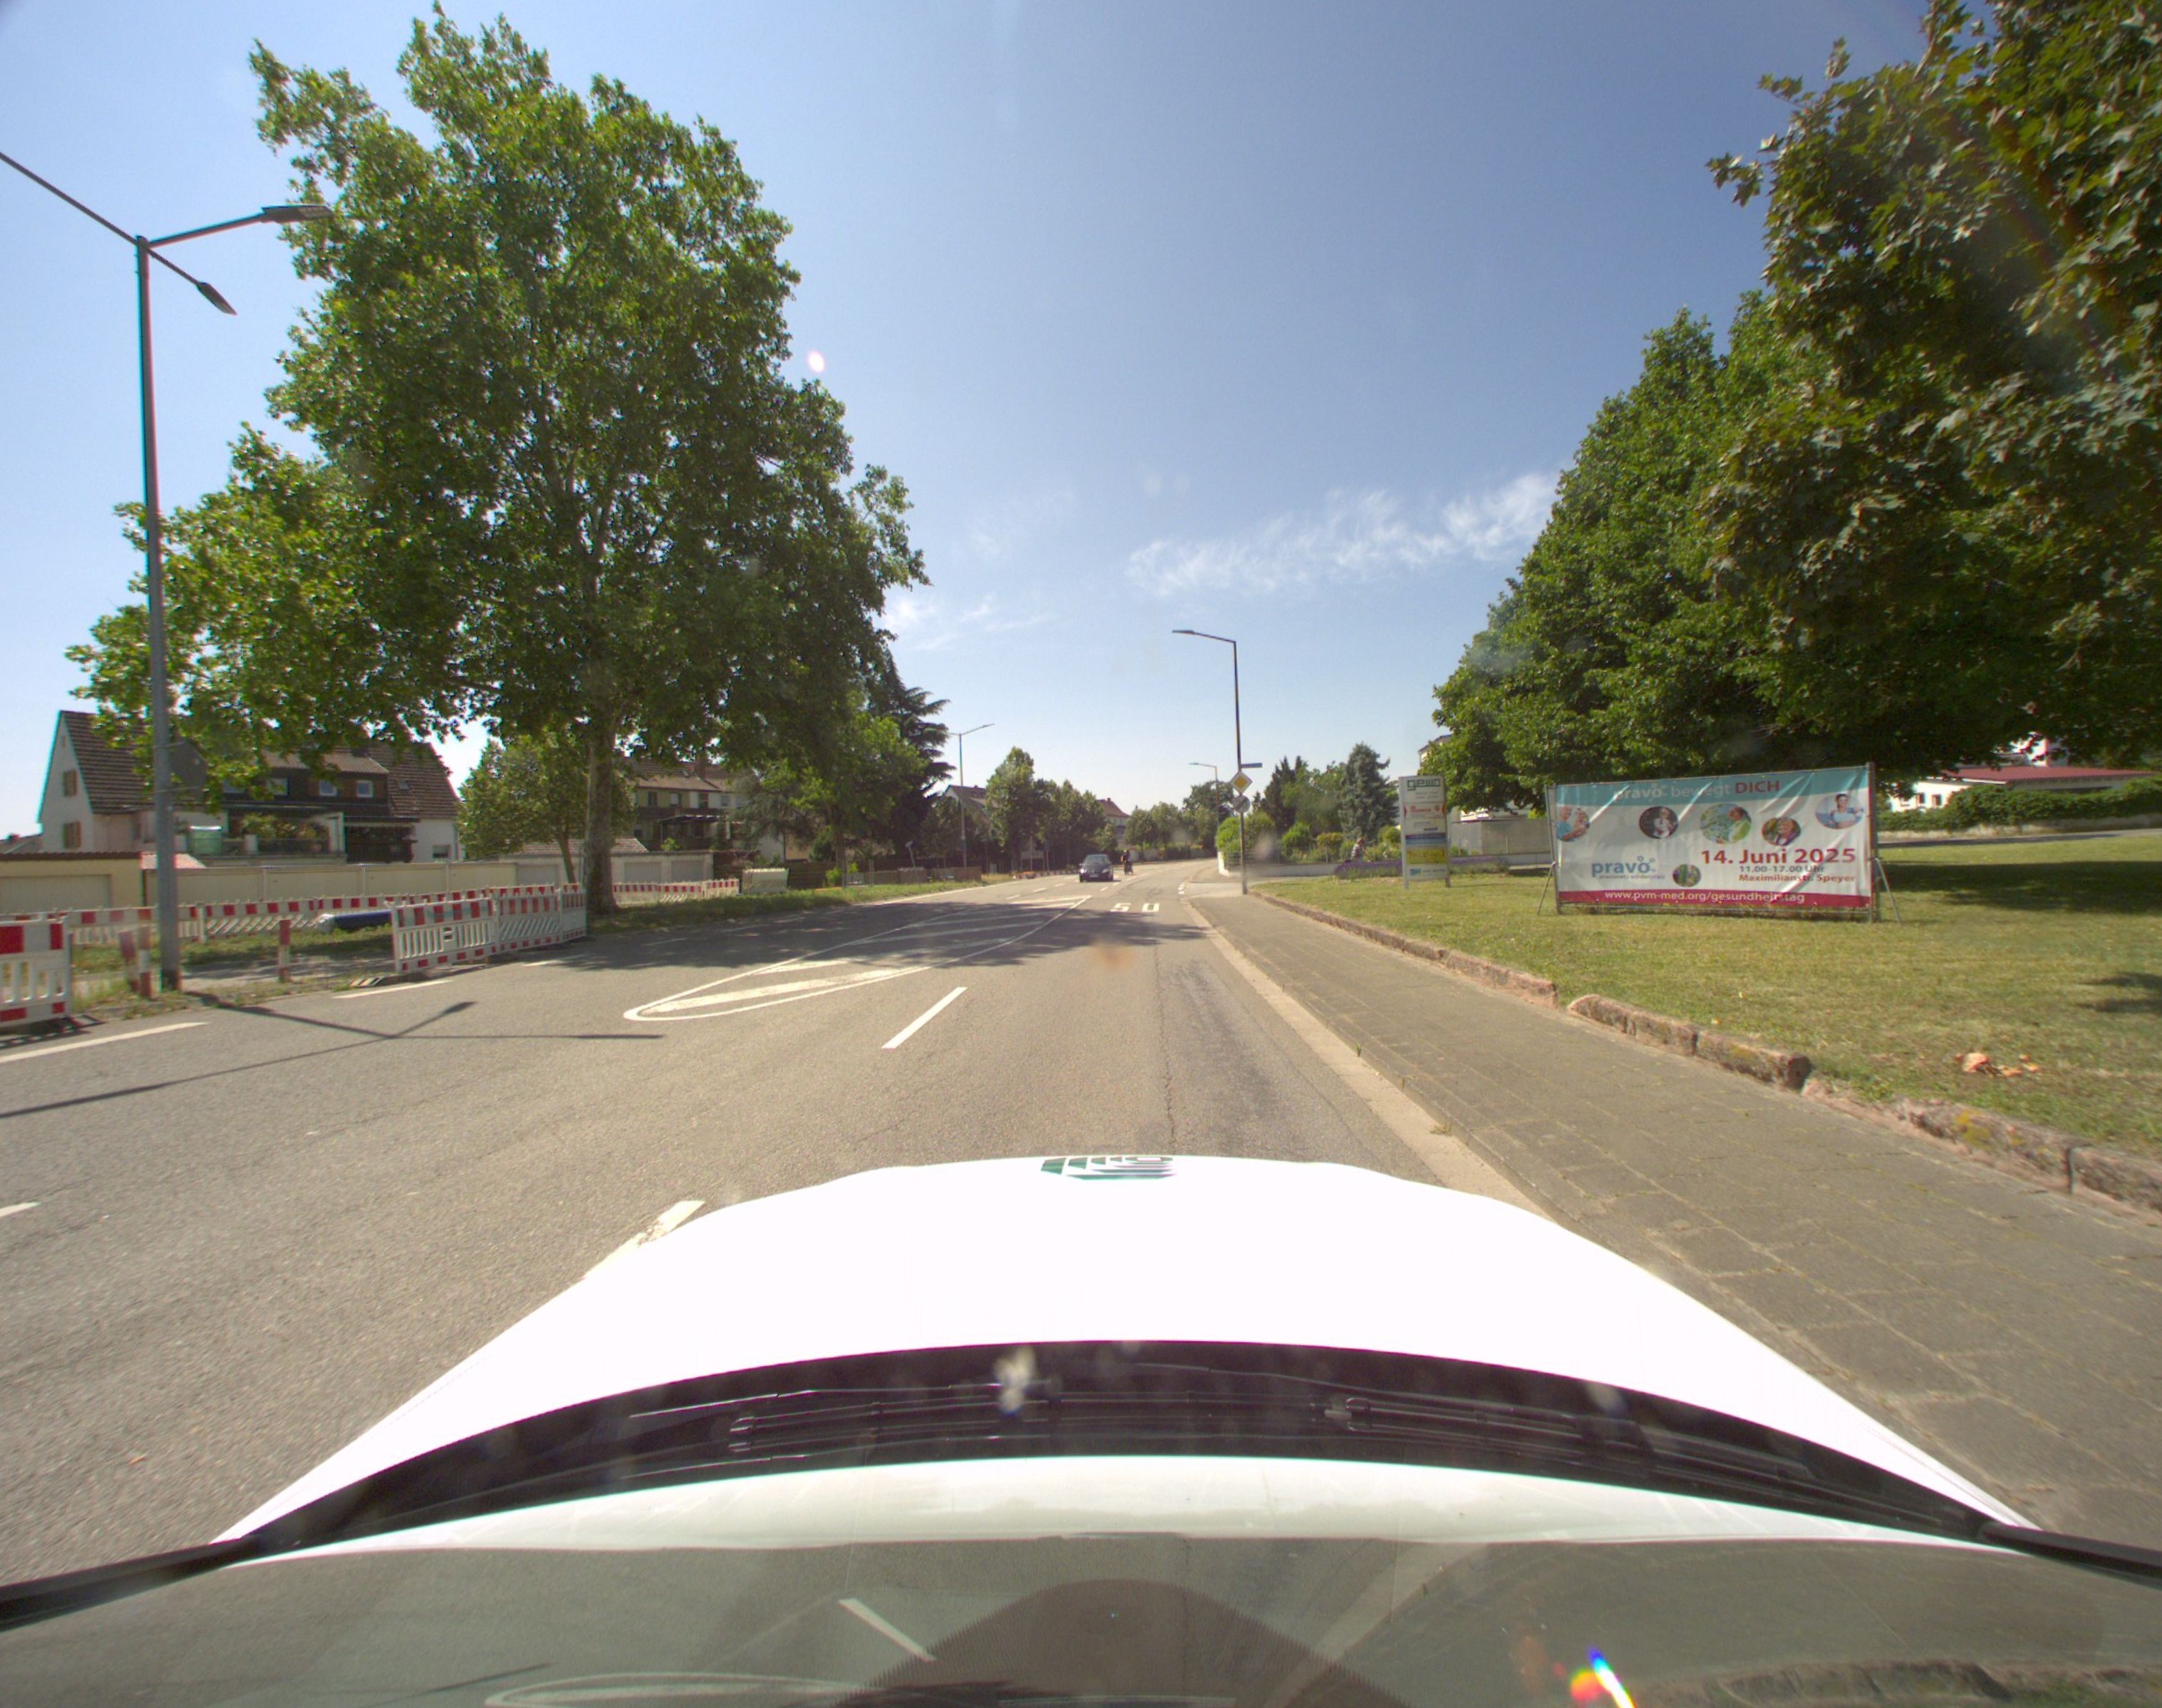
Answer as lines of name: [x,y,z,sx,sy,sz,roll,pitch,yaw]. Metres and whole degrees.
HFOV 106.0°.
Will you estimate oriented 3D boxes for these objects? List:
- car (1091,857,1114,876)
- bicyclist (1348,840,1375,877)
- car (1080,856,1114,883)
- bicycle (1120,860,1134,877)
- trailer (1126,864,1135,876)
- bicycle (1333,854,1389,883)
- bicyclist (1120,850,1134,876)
car: [1.820,1.036,69.160,1.691,1.510,3.464,-1,0,5]
bicyclist: [12.003,0.186,34.893,0.920,1.530,0.859,-3,-1,10]
car: [1.016,0.911,48.432,1.717,1.532,3.836,-1,0,5]
bicycle: [3.398,1.039,59.981,0.845,1.166,1.982,-2,0,8]
trailer: [3.749,1.181,61.520,0.567,0.856,1.135,-3,-1,8]
bicycle: [11.978,0.615,34.900,2.126,1.103,0.818,-3,-1,9]
bicyclist: [3.387,0.687,59.986,0.841,1.865,0.978,-2,-1,8]
